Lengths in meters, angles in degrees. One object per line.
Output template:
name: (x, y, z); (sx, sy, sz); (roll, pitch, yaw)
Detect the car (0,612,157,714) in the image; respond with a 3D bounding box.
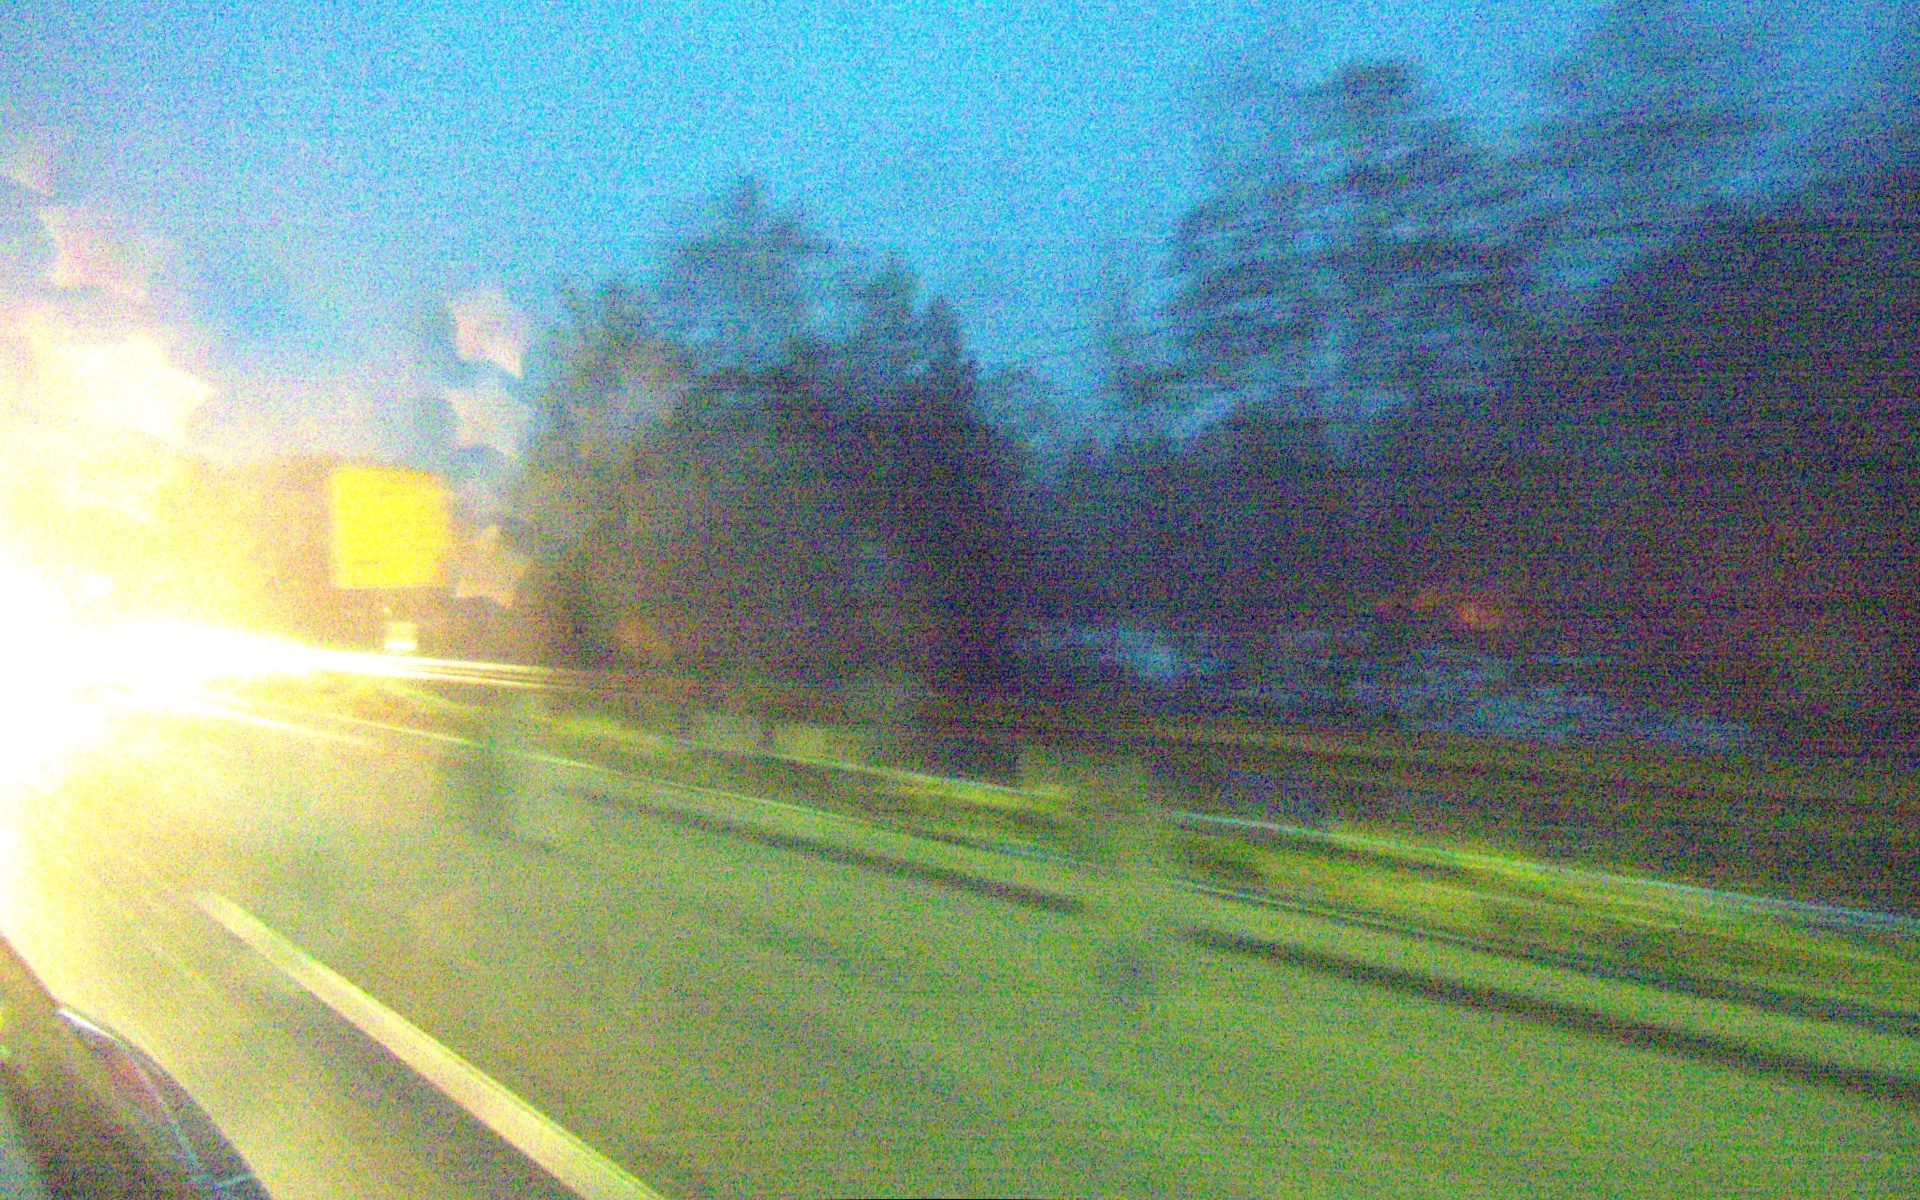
car: (-15.991, 1.046, 17.942); (4.354, 1.508, 1.973); (-2, 0, 41)

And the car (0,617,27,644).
car: (-57.915, 1.838, 61.188); (4.440, 1.566, 1.811); (-2, 0, 42)
